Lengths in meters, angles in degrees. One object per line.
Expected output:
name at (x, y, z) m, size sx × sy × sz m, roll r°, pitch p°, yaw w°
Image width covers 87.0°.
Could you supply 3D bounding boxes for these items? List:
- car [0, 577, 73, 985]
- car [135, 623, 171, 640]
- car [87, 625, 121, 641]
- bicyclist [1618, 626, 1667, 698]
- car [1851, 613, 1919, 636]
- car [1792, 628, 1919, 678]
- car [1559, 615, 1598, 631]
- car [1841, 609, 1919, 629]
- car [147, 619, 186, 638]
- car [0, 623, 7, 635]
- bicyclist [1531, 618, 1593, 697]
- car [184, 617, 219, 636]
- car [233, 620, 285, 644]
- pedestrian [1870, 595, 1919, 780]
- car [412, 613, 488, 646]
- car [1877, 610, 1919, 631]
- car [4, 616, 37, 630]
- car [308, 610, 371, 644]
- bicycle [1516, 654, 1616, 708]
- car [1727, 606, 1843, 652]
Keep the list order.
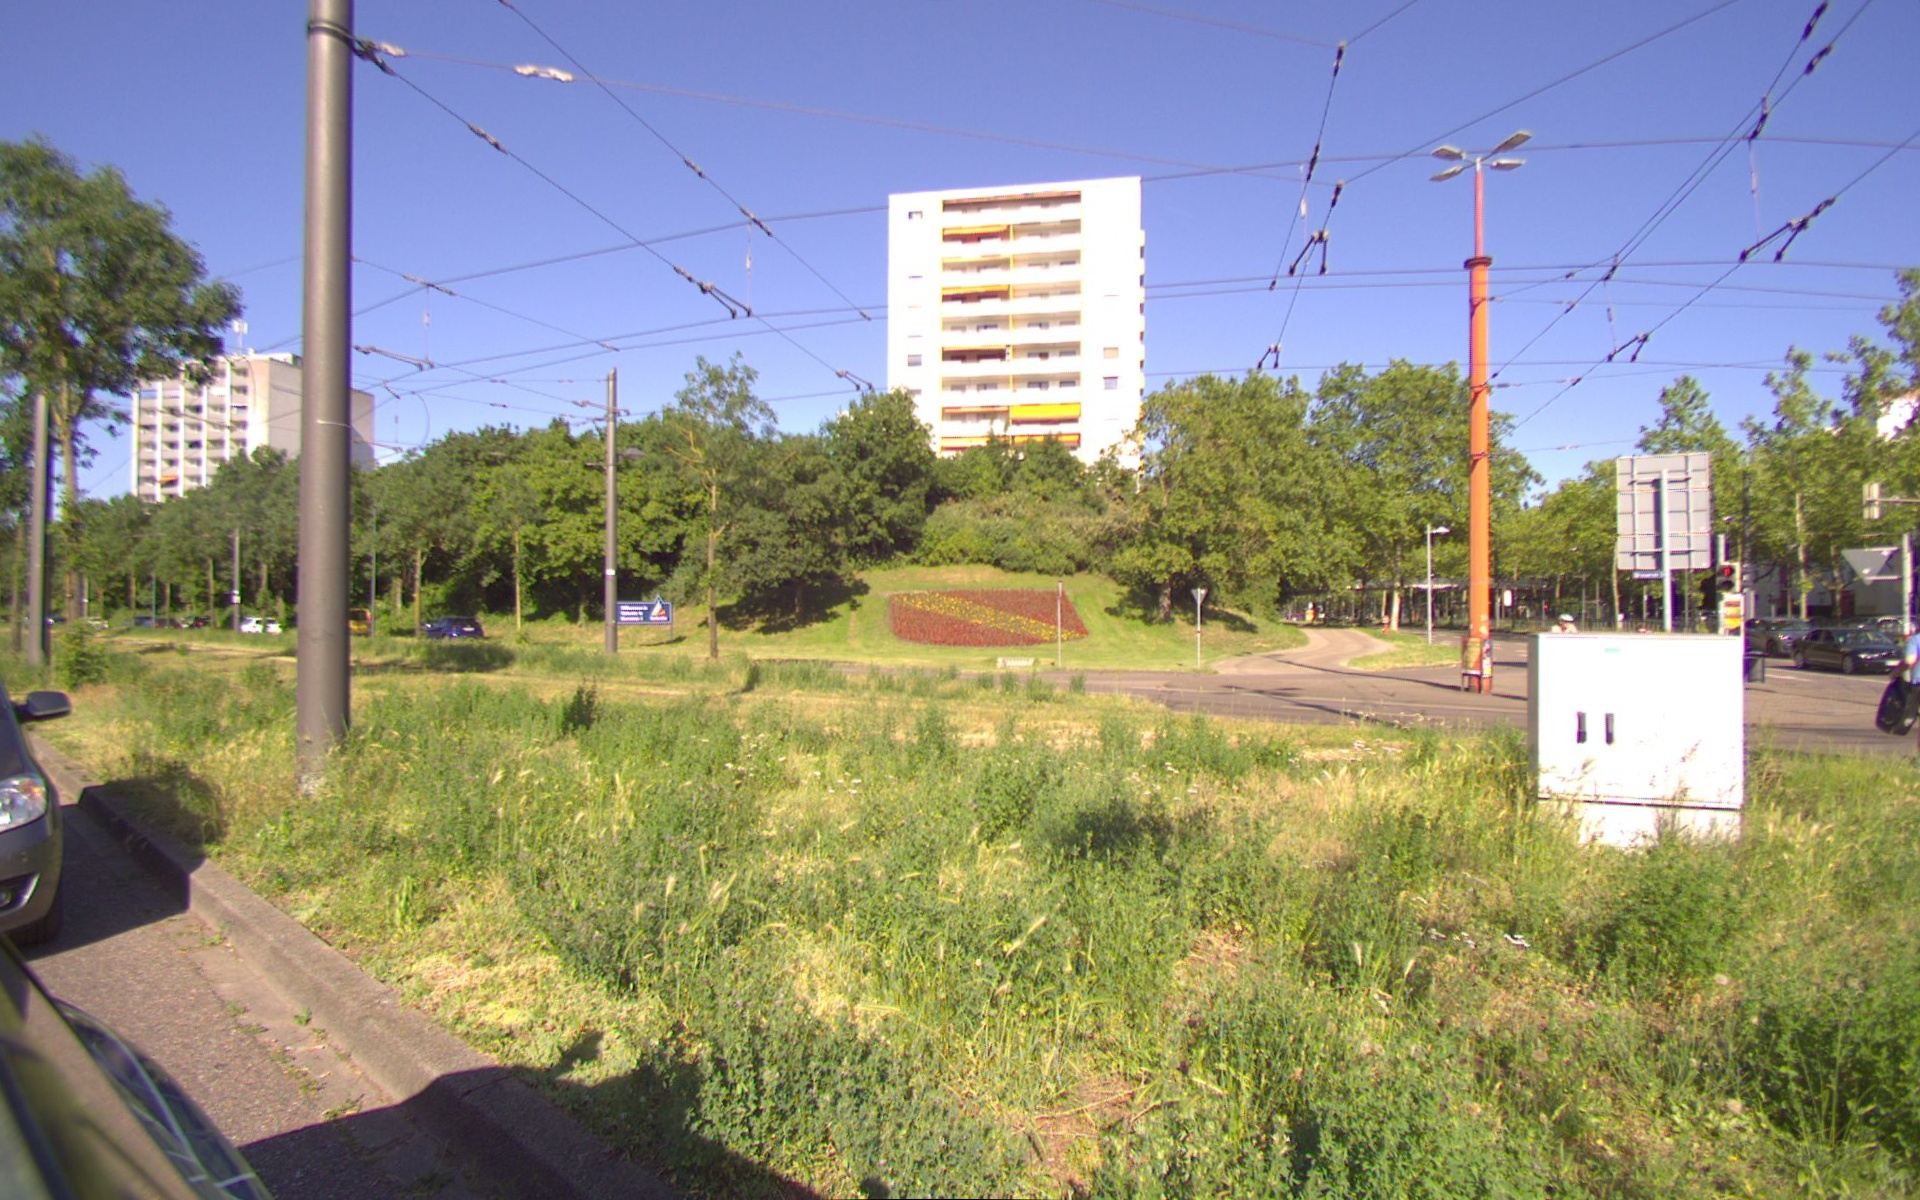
car at (-5.734, 0.747, 4.843) m, size 3.879 × 1.634 × 1.737 m, roll -1°, pitch -2°, yaw 41°
car at (-71.634, 2.807, 89.850) m, size 3.999 × 1.429 × 1.843 m, roll -1°, pitch -2°, yaw 42°
car at (-76.700, 2.915, 90.655) m, size 4.000 × 1.429 × 1.842 m, roll -1°, pitch -2°, yaw 43°
bicyclist at (13.358, 1.196, 19.817) m, size 0.435 × 1.391 × 0.631 m, roll 0°, pitch -2°, yaw -20°
car at (58.965, 1.569, 64.540) m, size 1.743 × 1.409 × 3.975 m, roll -1°, pitch -1°, yaw 19°
car at (27.371, 1.549, 30.617) m, size 1.750 × 1.360 × 4.340 m, roll -1°, pitch -1°, yaw 16°
car at (79.731, 2.992, 130.483) m, size 3.969 × 2.029 × 1.987 m, roll -1°, pitch -1°, yaw 20°
car at (65.877, 1.376, 72.382) m, size 1.770 × 1.420 × 4.010 m, roll 1°, pitch -1°, yaw -36°
car at (-60.631, 2.187, 77.301) m, size 4.312 × 1.427 × 1.774 m, roll -1°, pitch -2°, yaw 45°
car at (-120.542, 3.630, 126.120) m, size 3.989 × 1.475 × 1.783 m, roll -1°, pitch -2°, yaw 34°
bicyclist at (12.165, 1.141, 20.466) m, size 0.719 × 1.557 × 0.770 m, roll 0°, pitch -2°, yaw -20°
car at (-62.292, 2.144, 83.093) m, size 1.767 × 1.519 × 4.243 m, roll 1°, pitch -1°, yaw -45°
car at (-42.718, 1.920, 61.651) m, size 4.020 × 1.418 × 1.671 m, roll -1°, pitch -2°, yaw 42°
pedestrian at (9.969, 0.861, 10.125) m, size 0.948 × 1.807 × 0.981 m, roll -1°, pitch -1°, yaw 21°
car at (-25.142, 1.445, 49.866) m, size 4.105 × 1.586 × 1.973 m, roll -1°, pitch -2°, yaw 41°
car at (64.889, 1.398, 68.400) m, size 1.770 × 1.420 × 4.010 m, roll 1°, pitch -1°, yaw -36°
car at (-106.599, 2.590, 114.828) m, size 3.991 × 1.497 × 1.976 m, roll -1°, pitch -1°, yaw 35°
car at (-38.044, 1.640, 61.997) m, size 4.905 × 1.981 × 1.972 m, roll -1°, pitch -2°, yaw 42°
bicycle at (12.175, 1.608, 20.383) m, size 0.673 × 0.968 × 1.650 m, roll 0°, pitch -1°, yaw -20°
car at (32.907, 1.154, 40.532) m, size 1.833 × 1.721 × 4.288 m, roll -1°, pitch -2°, yaw 13°
